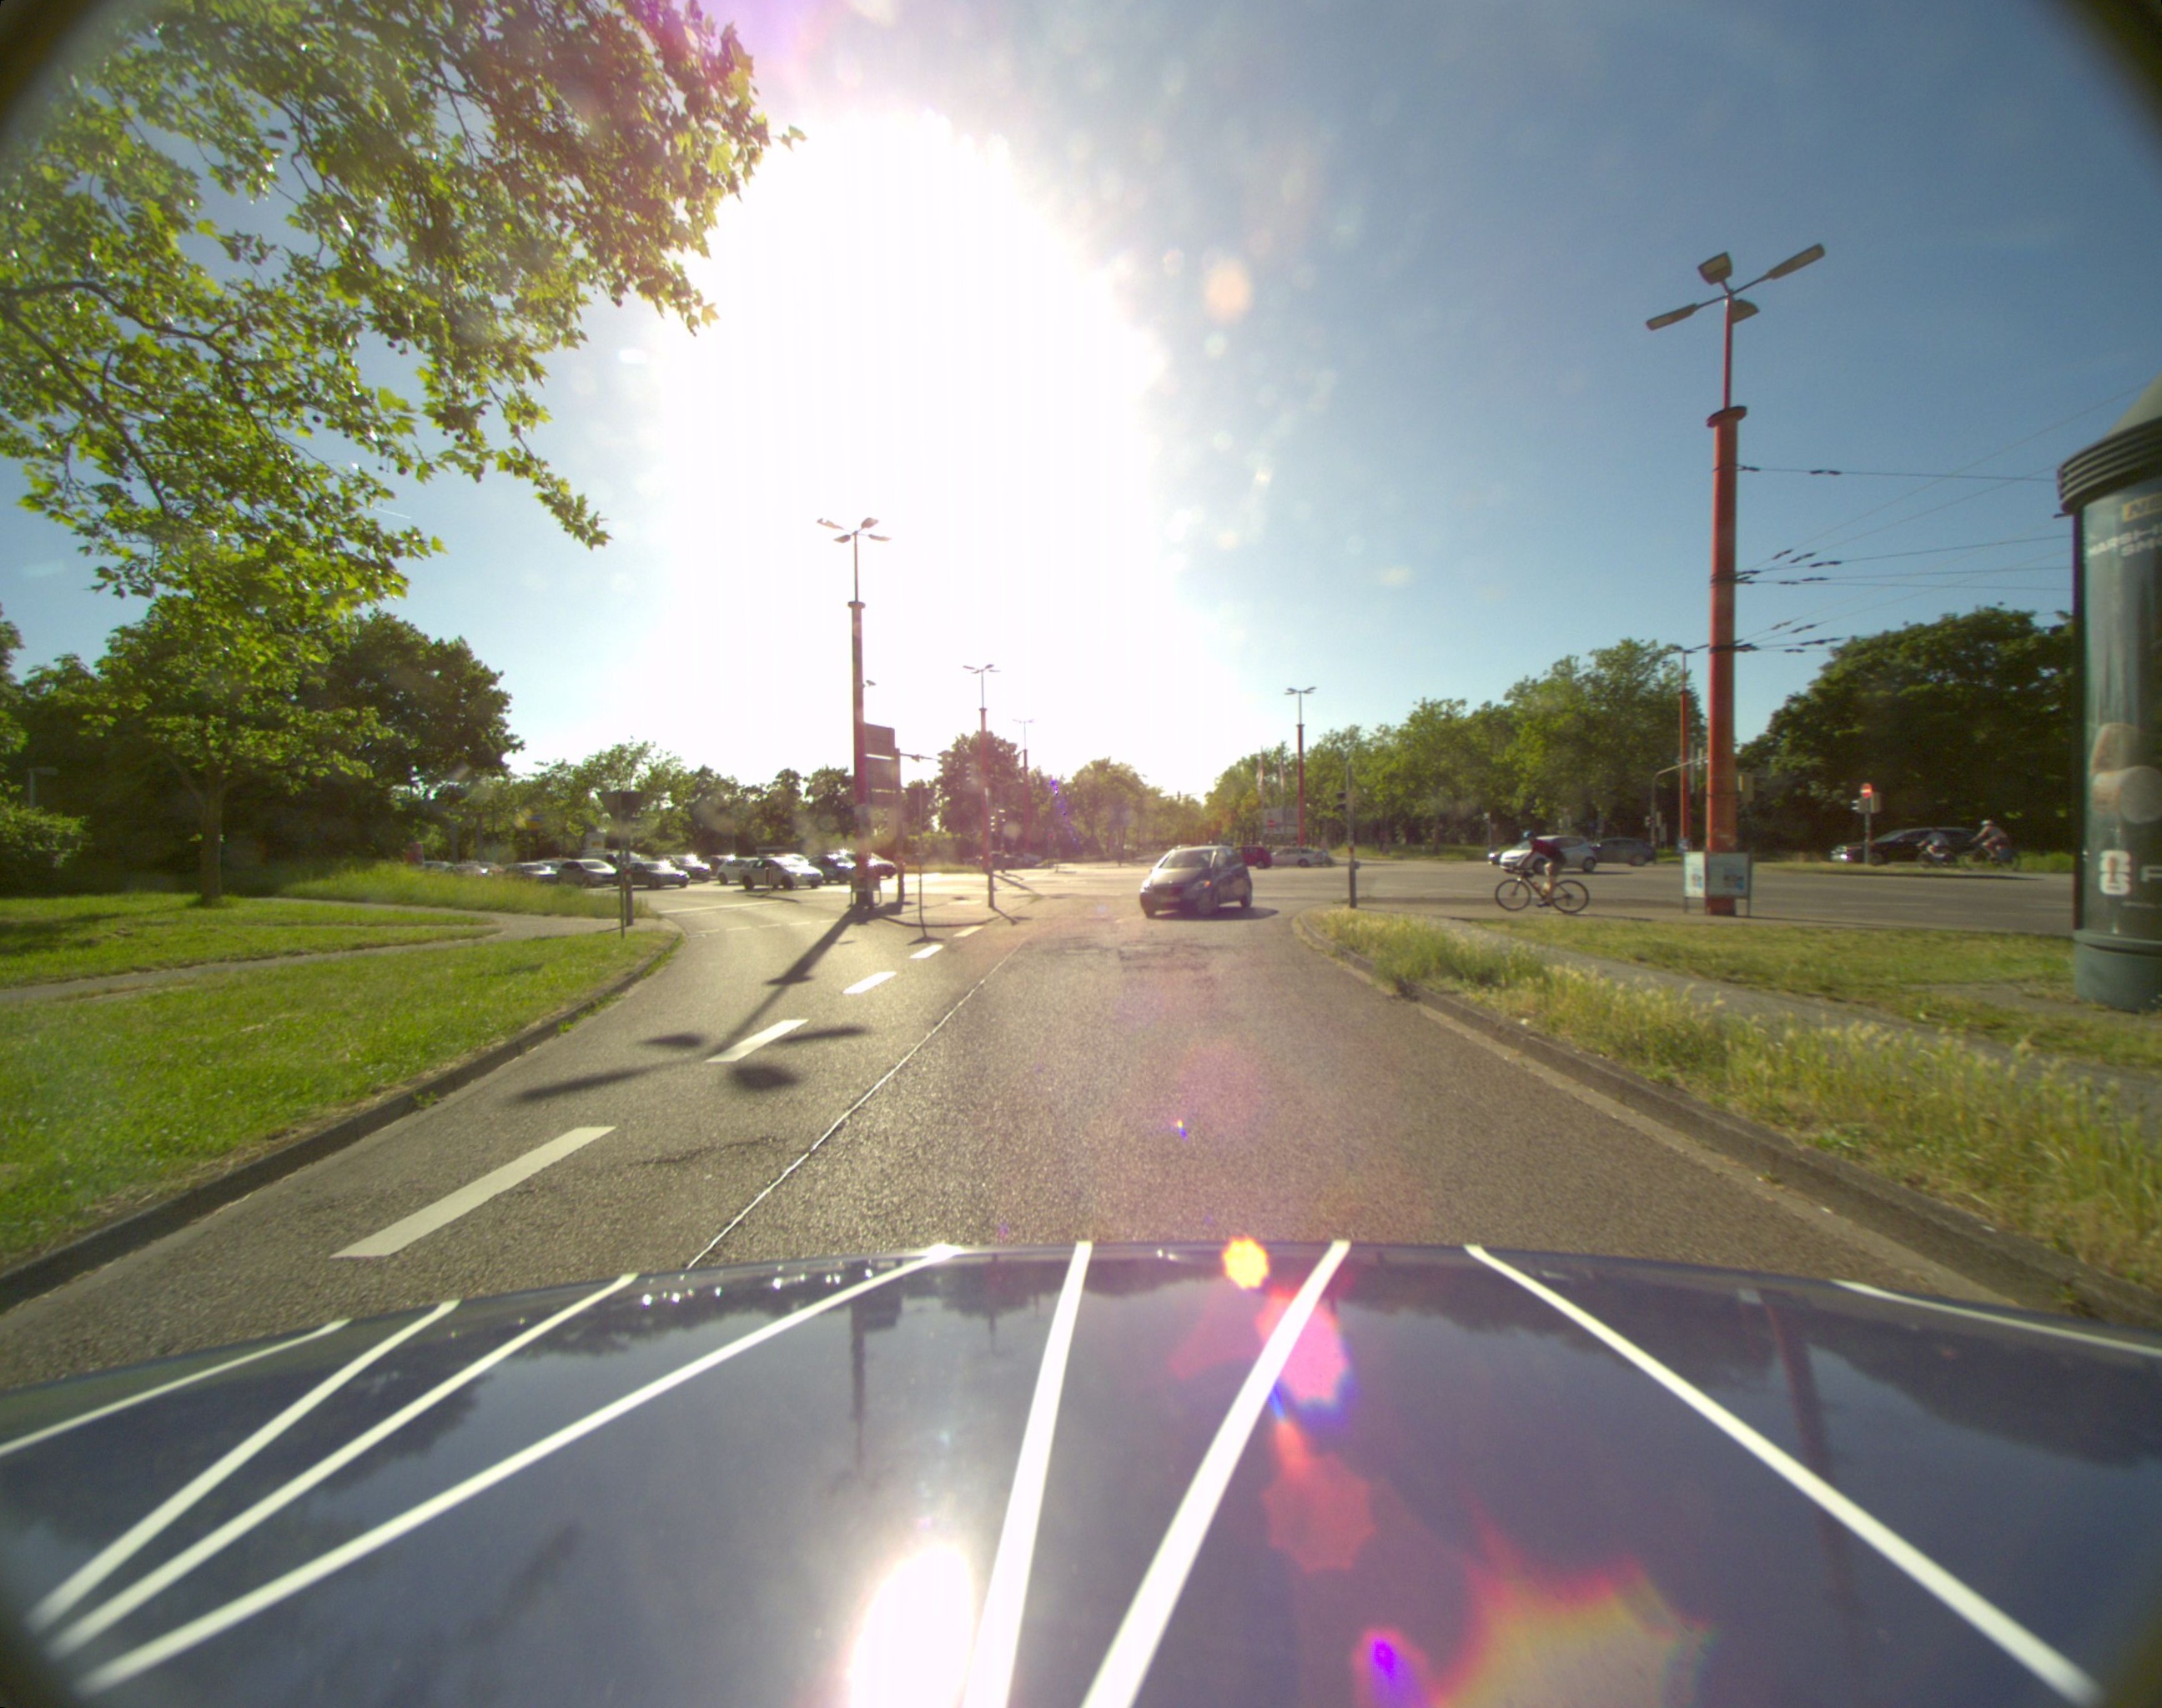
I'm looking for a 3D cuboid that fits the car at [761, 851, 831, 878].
[{"bbox_3d":[-17.595,0.637,46.838,3.989,1.502,1.803,-1,2,29],"label":"car"}]

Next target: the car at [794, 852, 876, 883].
[{"bbox_3d":[-12.968,0.706,39.991,3.989,1.473,1.803,-1,2,29],"label":"car"}]

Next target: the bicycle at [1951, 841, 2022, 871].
[{"bbox_3d":[33.985,0.067,28.556,0.562,1.101,1.800,-1,1,3],"label":"bicycle"}]

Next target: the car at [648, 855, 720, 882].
[{"bbox_3d":[-23.853,0.888,45.642,3.989,1.498,1.803,-1,2,29],"label":"car"}]

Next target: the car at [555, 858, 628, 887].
[{"bbox_3d":[-28.341,1.065,43.962,3.989,1.576,1.803,-1,2,29],"label":"car"}]

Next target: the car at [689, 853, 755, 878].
[{"bbox_3d":[-23.438,0.772,49.541,3.989,1.473,1.803,-1,2,29],"label":"car"}]

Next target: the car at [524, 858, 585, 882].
[{"bbox_3d":[-36.598,1.095,52.836,3.989,1.502,1.803,-1,2,29],"label":"car"}]

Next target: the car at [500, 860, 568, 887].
[{"bbox_3d":[-33.980,1.189,47.175,3.989,1.502,1.803,-1,2,29],"label":"car"}]

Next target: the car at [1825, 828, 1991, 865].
[{"bbox_3d":[36.190,-0.294,33.412,4.616,1.501,1.792,-1,1,20],"label":"car"}]

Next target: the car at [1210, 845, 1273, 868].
[{"bbox_3d":[10.338,0.160,48.880,3.662,1.450,1.592,-1,1,26],"label":"car"}]

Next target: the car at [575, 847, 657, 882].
[{"bbox_3d":[-30.260,0.699,49.400,5.180,2.075,2.095,-1,2,29],"label":"car"}]

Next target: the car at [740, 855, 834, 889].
[{"bbox_3d":[-14.106,0.844,36.397,4.274,1.473,1.803,-1,2,29],"label":"car"}]

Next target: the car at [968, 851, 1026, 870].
[{"bbox_3d":[-6.317,0.466,57.317,3.990,1.361,1.803,-1,0,27],"label":"car"}]

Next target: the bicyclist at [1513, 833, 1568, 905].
[{"bbox_3d":[9.803,0.309,16.208,0.954,1.469,0.704,-1,1,33],"label":"bicyclist"}]

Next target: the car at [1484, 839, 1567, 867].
[{"bbox_3d":[24.513,-0.050,42.006,3.777,1.501,1.616,-1,0,22],"label":"car"}]

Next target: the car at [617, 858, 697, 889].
[{"bbox_3d":[-22.605,1.023,40.461,3.989,1.502,1.803,-1,2,29],"label":"car"}]

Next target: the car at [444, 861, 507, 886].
[{"bbox_3d":[-40.315,1.292,50.581,3.989,1.502,1.803,-1,2,29],"label":"car"}]

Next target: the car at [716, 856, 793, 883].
[{"bbox_3d":[-18.298,0.855,42.555,3.989,1.384,1.803,-1,2,29],"label":"car"}]

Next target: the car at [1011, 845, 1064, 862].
[{"bbox_3d":[-4.141,-0.029,72.507,4.644,1.502,1.796,-2,1,-25],"label":"car"}]

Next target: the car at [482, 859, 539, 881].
[{"bbox_3d":[-42.123,1.191,56.057,3.989,1.502,1.803,-1,2,29],"label":"car"}]

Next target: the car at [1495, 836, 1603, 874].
[{"bbox_3d":[20.371,0.027,33.117,3.906,1.579,1.703,-1,0,-12],"label":"car"}]

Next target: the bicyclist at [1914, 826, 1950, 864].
[{"bbox_3d":[32.933,-0.341,29.415,0.500,1.439,0.778,-1,1,3],"label":"bicyclist"}]

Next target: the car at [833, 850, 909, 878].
[{"bbox_3d":[-12.056,0.566,43.553,3.989,1.473,1.803,-1,2,29],"label":"car"}]

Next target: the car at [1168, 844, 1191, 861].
[{"bbox_3d":[9.357,-0.160,72.069,1.797,1.501,4.003,-1,1,12],"label":"car"}]

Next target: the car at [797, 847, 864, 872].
[{"bbox_3d":[-16.274,0.381,49.398,3.989,1.502,1.803,-1,2,29],"label":"car"}]

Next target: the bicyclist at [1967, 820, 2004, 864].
[{"bbox_3d":[33.974,-0.455,28.543,0.562,1.643,0.714,-1,1,3],"label":"bicyclist"}]

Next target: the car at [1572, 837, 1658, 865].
[{"bbox_3d":[30.222,-0.145,43.117,3.776,1.497,1.616,-1,0,26],"label":"car"}]

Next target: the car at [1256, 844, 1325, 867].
[{"bbox_3d":[14.182,0.106,51.550,4.236,1.501,1.803,-1,0,26],"label":"car"}]

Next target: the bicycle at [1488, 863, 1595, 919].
[{"bbox_3d":[9.813,0.766,16.223,1.896,1.101,0.704,-1,1,33],"label":"bicycle"}]

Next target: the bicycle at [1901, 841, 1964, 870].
[{"bbox_3d":[32.942,0.042,29.418,0.499,1.101,1.800,-1,1,3],"label":"bicycle"}]

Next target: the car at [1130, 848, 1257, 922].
[{"bbox_3d":[2.868,0.682,18.703,1.795,1.580,3.770,-1,1,30],"label":"car"}]
